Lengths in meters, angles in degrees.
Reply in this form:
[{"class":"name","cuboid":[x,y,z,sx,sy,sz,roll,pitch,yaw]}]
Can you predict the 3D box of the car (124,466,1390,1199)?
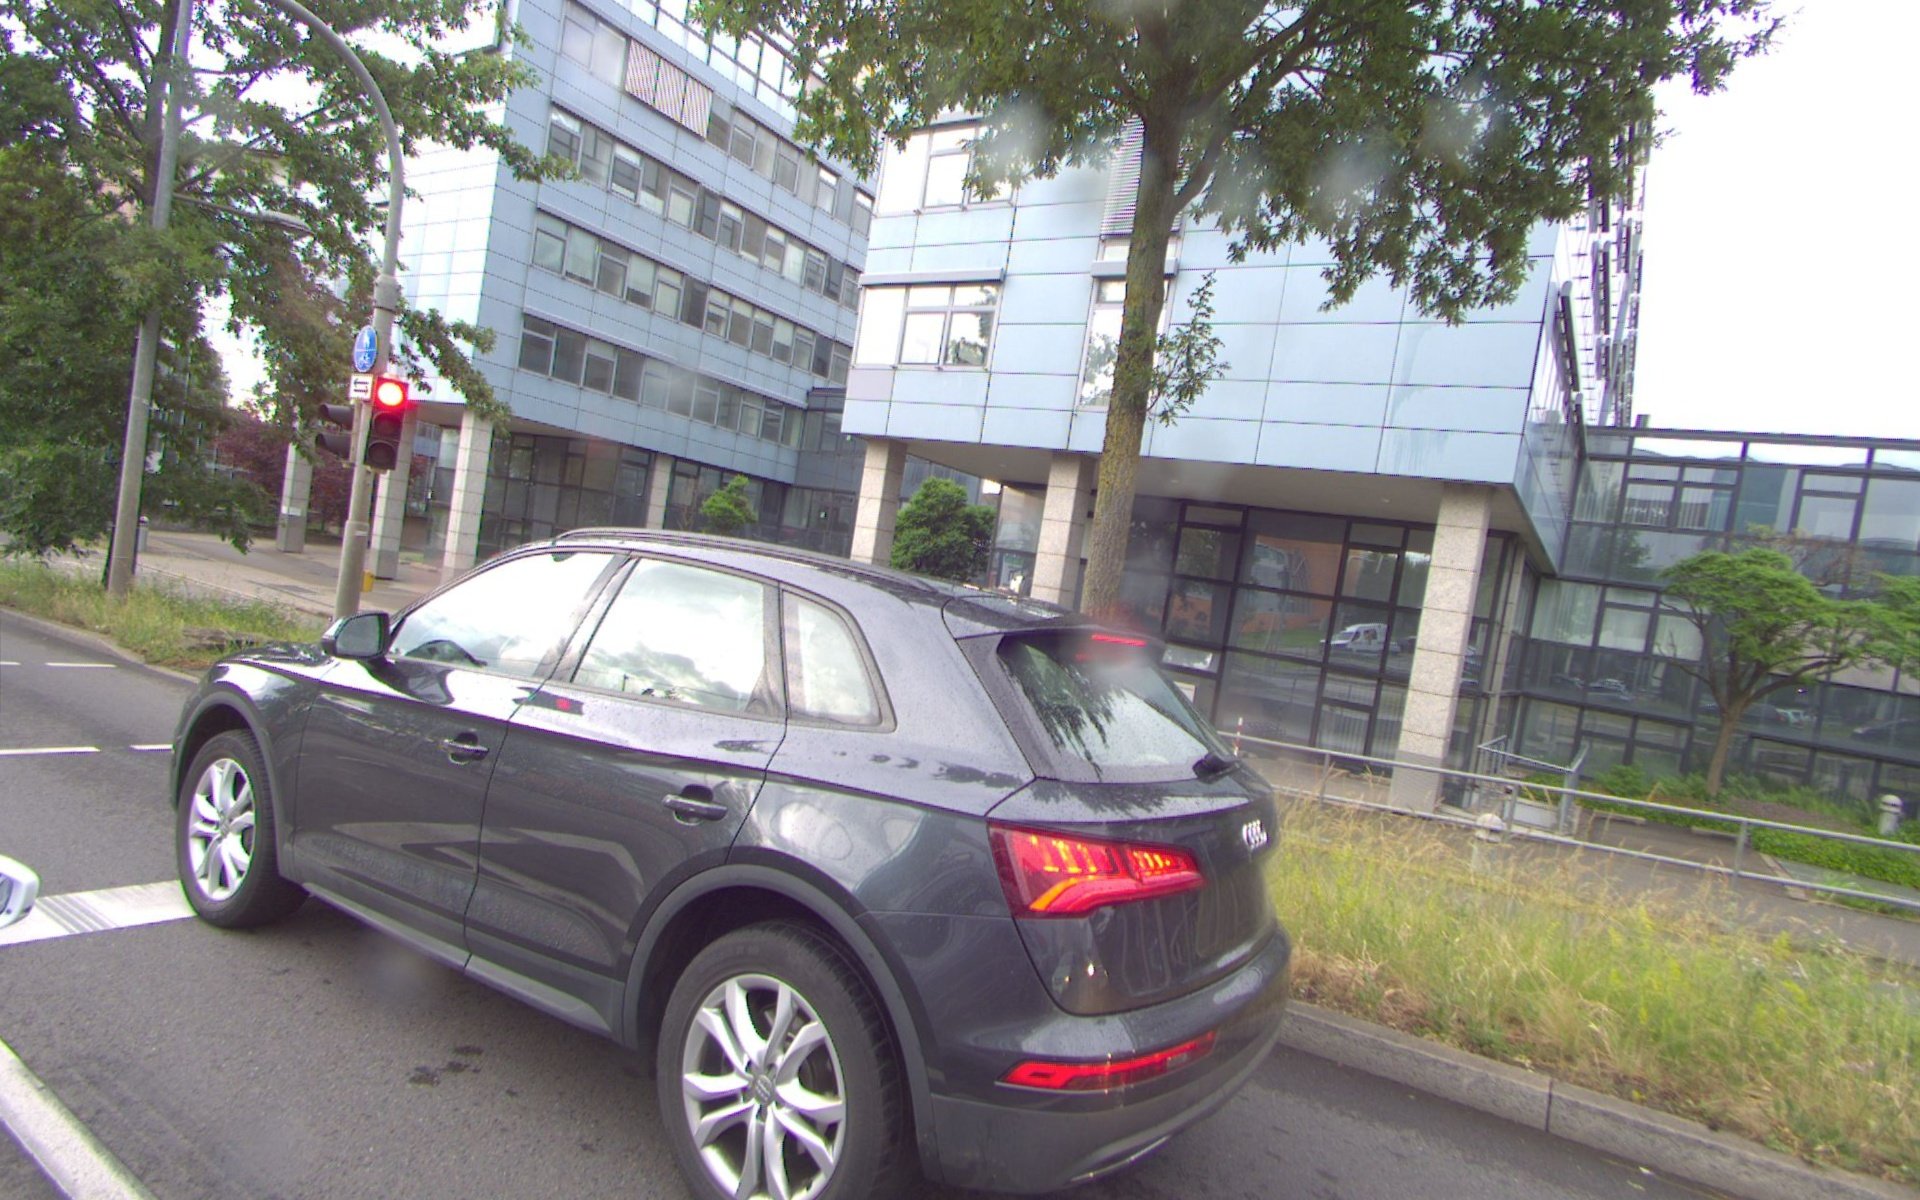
[{"class":"car","cuboid":[-0.989,0.570,3.726,4.396,1.632,1.821,7,-1,32]}]
